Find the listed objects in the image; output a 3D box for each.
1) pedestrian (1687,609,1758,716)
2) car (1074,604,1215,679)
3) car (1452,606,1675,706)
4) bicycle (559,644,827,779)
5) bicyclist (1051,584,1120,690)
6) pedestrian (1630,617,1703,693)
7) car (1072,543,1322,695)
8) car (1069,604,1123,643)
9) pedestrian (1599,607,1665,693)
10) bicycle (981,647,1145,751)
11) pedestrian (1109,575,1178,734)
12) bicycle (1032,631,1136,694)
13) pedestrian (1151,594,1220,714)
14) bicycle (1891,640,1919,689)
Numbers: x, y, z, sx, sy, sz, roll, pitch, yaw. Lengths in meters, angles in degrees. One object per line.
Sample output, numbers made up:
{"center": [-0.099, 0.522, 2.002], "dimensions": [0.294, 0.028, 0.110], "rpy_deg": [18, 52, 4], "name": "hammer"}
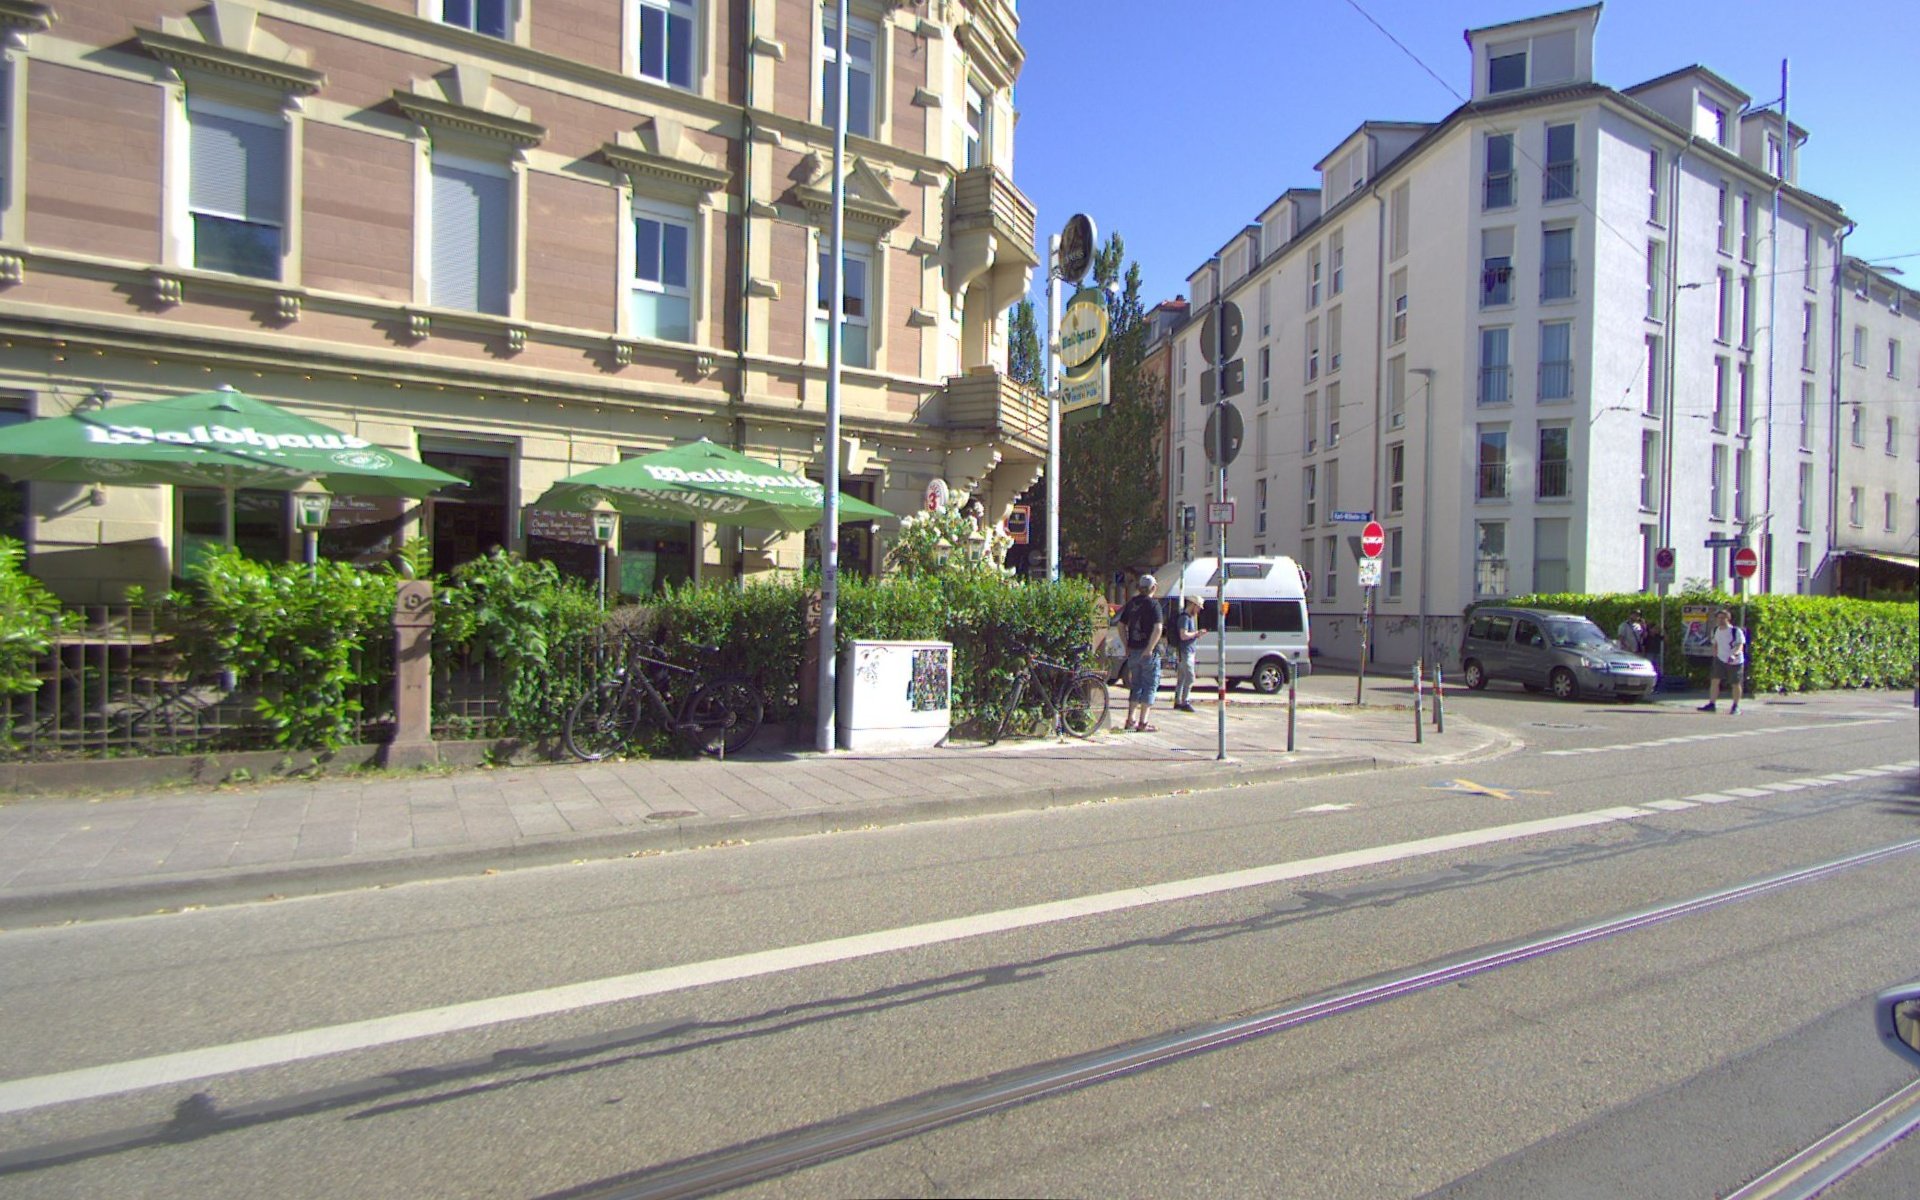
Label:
{"center": [13.301, 1.068, 17.523], "dimensions": [0.856, 1.791, 0.688], "rpy_deg": [1, 0, -30], "name": "pedestrian"}
{"center": [4.778, 1.068, 26.163], "dimensions": [3.284, 1.775, 1.450], "rpy_deg": [2, -1, -11], "name": "car"}
{"center": [12.341, 1.082, 20.876], "dimensions": [1.759, 1.831, 4.048], "rpy_deg": [2, -1, -9], "name": "car"}
{"center": [-2.293, 0.925, 8.791], "dimensions": [2.197, 1.052, 0.511], "rpy_deg": [1, 0, -30], "name": "bicycle"}
{"center": [2.274, 0.675, 18.268], "dimensions": [0.974, 1.878, 0.701], "rpy_deg": [2, -1, -30], "name": "bicyclist"}
{"center": [14.798, 1.138, 21.072], "dimensions": [0.743, 1.498, 0.955], "rpy_deg": [1, 1, -11], "name": "pedestrian"}
{"center": [4.938, 0.430, 21.077], "dimensions": [4.702, 2.878, 1.888], "rpy_deg": [2, -1, -13], "name": "car"}
{"center": [7.376, 1.275, 54.775], "dimensions": [1.782, 1.986, 3.994], "rpy_deg": [2, -1, -9], "name": "car"}
{"center": [14.051, 1.037, 21.017], "dimensions": [0.743, 1.737, 0.806], "rpy_deg": [1, 1, -11], "name": "pedestrian"}
{"center": [1.112, 1.015, 10.636], "dimensions": [1.757, 0.994, 0.524], "rpy_deg": [1, 0, -30], "name": "bicycle"}
{"center": [2.138, 0.621, 11.730], "dimensions": [0.533, 1.805, 0.553], "rpy_deg": [1, 0, -33], "name": "pedestrian"}
{"center": [2.263, 1.139, 18.263], "dimensions": [1.814, 1.069, 0.701], "rpy_deg": [3, -1, -30], "name": "bicycle"}
{"center": [3.268, 0.770, 14.598], "dimensions": [0.816, 1.676, 0.707], "rpy_deg": [2, -1, 2], "name": "pedestrian"}
{"center": [22.952, 1.532, 23.865], "dimensions": [1.818, 1.104, 0.658], "rpy_deg": [2, 2, -30], "name": "bicycle"}
